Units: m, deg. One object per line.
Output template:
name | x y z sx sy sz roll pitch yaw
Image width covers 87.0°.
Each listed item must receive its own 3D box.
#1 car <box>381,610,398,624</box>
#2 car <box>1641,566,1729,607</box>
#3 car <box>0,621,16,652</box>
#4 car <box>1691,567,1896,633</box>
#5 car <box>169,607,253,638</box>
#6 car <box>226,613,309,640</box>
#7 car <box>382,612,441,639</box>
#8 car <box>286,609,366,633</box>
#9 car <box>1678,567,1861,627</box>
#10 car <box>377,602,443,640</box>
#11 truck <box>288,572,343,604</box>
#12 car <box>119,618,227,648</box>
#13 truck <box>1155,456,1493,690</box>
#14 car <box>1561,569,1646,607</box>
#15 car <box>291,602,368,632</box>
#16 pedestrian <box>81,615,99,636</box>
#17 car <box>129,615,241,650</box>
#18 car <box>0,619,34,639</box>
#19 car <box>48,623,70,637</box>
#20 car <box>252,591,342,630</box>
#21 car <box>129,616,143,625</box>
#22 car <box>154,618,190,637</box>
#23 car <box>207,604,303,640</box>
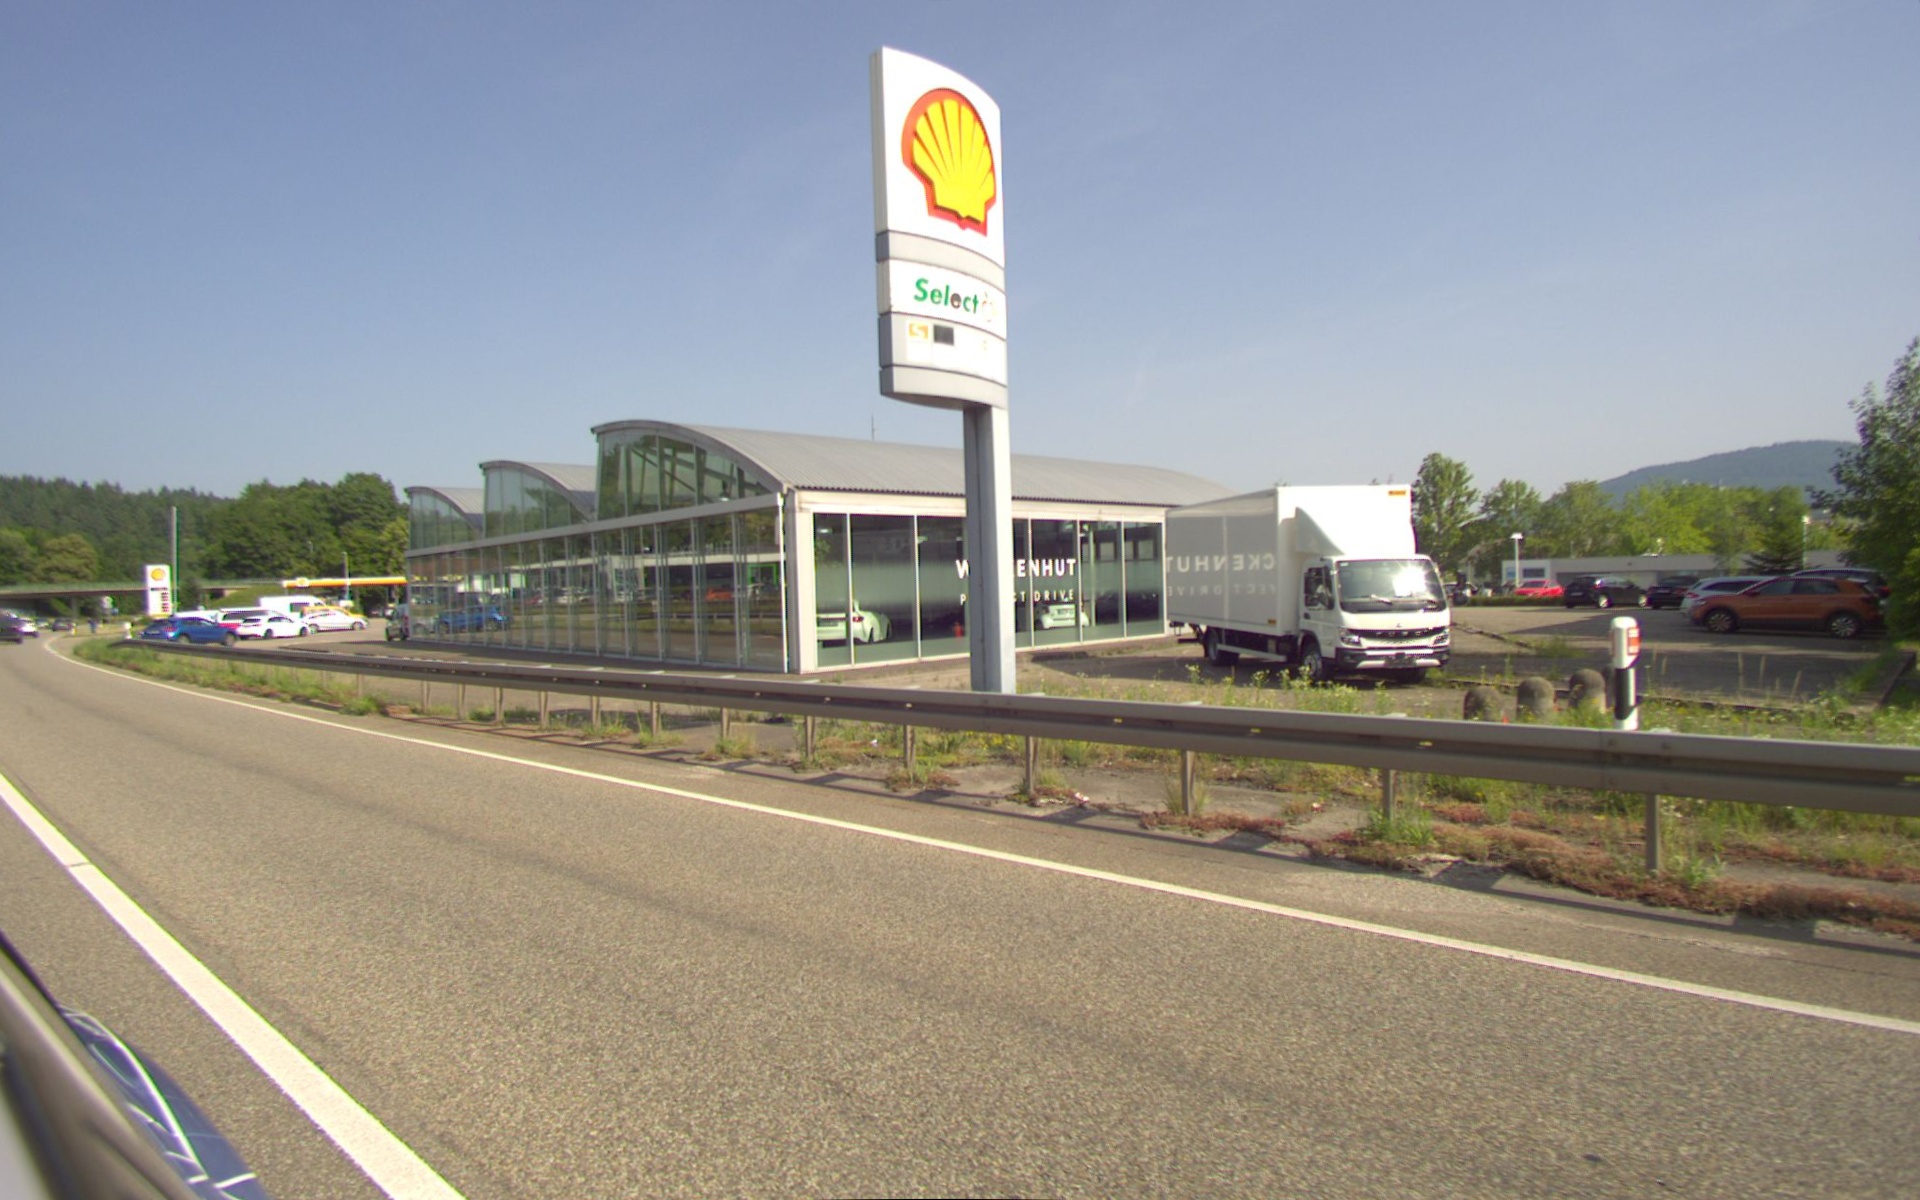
car | -67.813 2.036 120.261 1.691 1.578 4.672 -2 0 -30
car | 30.361 -0.584 42.340 3.933 1.616 1.735 -1 1 -34
car | -61.099 2.319 64.063 1.891 1.899 4.916 0 -1 -43
car | 21.819 -0.040 26.605 1.704 1.616 4.003 -1 2 -44
car | -53.975 1.609 72.959 4.617 1.871 2.145 -4 1 -44
car | -42.181 1.590 61.791 1.875 1.413 4.223 -1 1 6
car | -31.448 1.459 57.912 1.784 1.397 4.835 -2 -1 -43
car | -44.259 1.432 70.704 4.413 1.409 1.968 -3 2 -44
car | 23.273 -0.132 29.169 4.000 1.616 1.706 1 2 43
car | -26.460 1.031 48.624 1.783 1.726 4.413 -2 -1 -42
truck | -87.855 -1.558 138.292 3.010 4.165 16.827 -1 0 -21
car | -40.349 1.649 52.021 1.831 1.378 4.386 -1 0 6
truck | 6.535 -0.476 19.978 2.763 3.583 8.225 -2 1 -7
car | 28.577 -0.559 44.928 3.933 1.616 1.735 -1 1 -34
car | -45.512 1.202 73.145 4.330 1.821 2.003 -5 2 -44
pedestrian | -75.065 2.188 87.332 0.835 1.702 1.148 -1 0 -23
car | -37.691 1.538 49.340 1.961 1.518 4.224 -1 0 6
car | -76.900 2.339 82.514 4.228 1.642 1.772 -1 -1 44
car | -99.980 3.348 112.322 1.730 1.486 4.294 0 -1 -40
car | -52.948 0.823 80.932 5.652 2.765 2.288 -4 2 -42
car | -138.594 3.505 170.302 1.655 1.484 3.715 0 -1 -36
car | -74.718 2.619 95.971 1.786 1.642 4.555 0 -3 -26
car | -45.785 1.413 65.801 4.737 1.996 2.231 -4 2 -44
